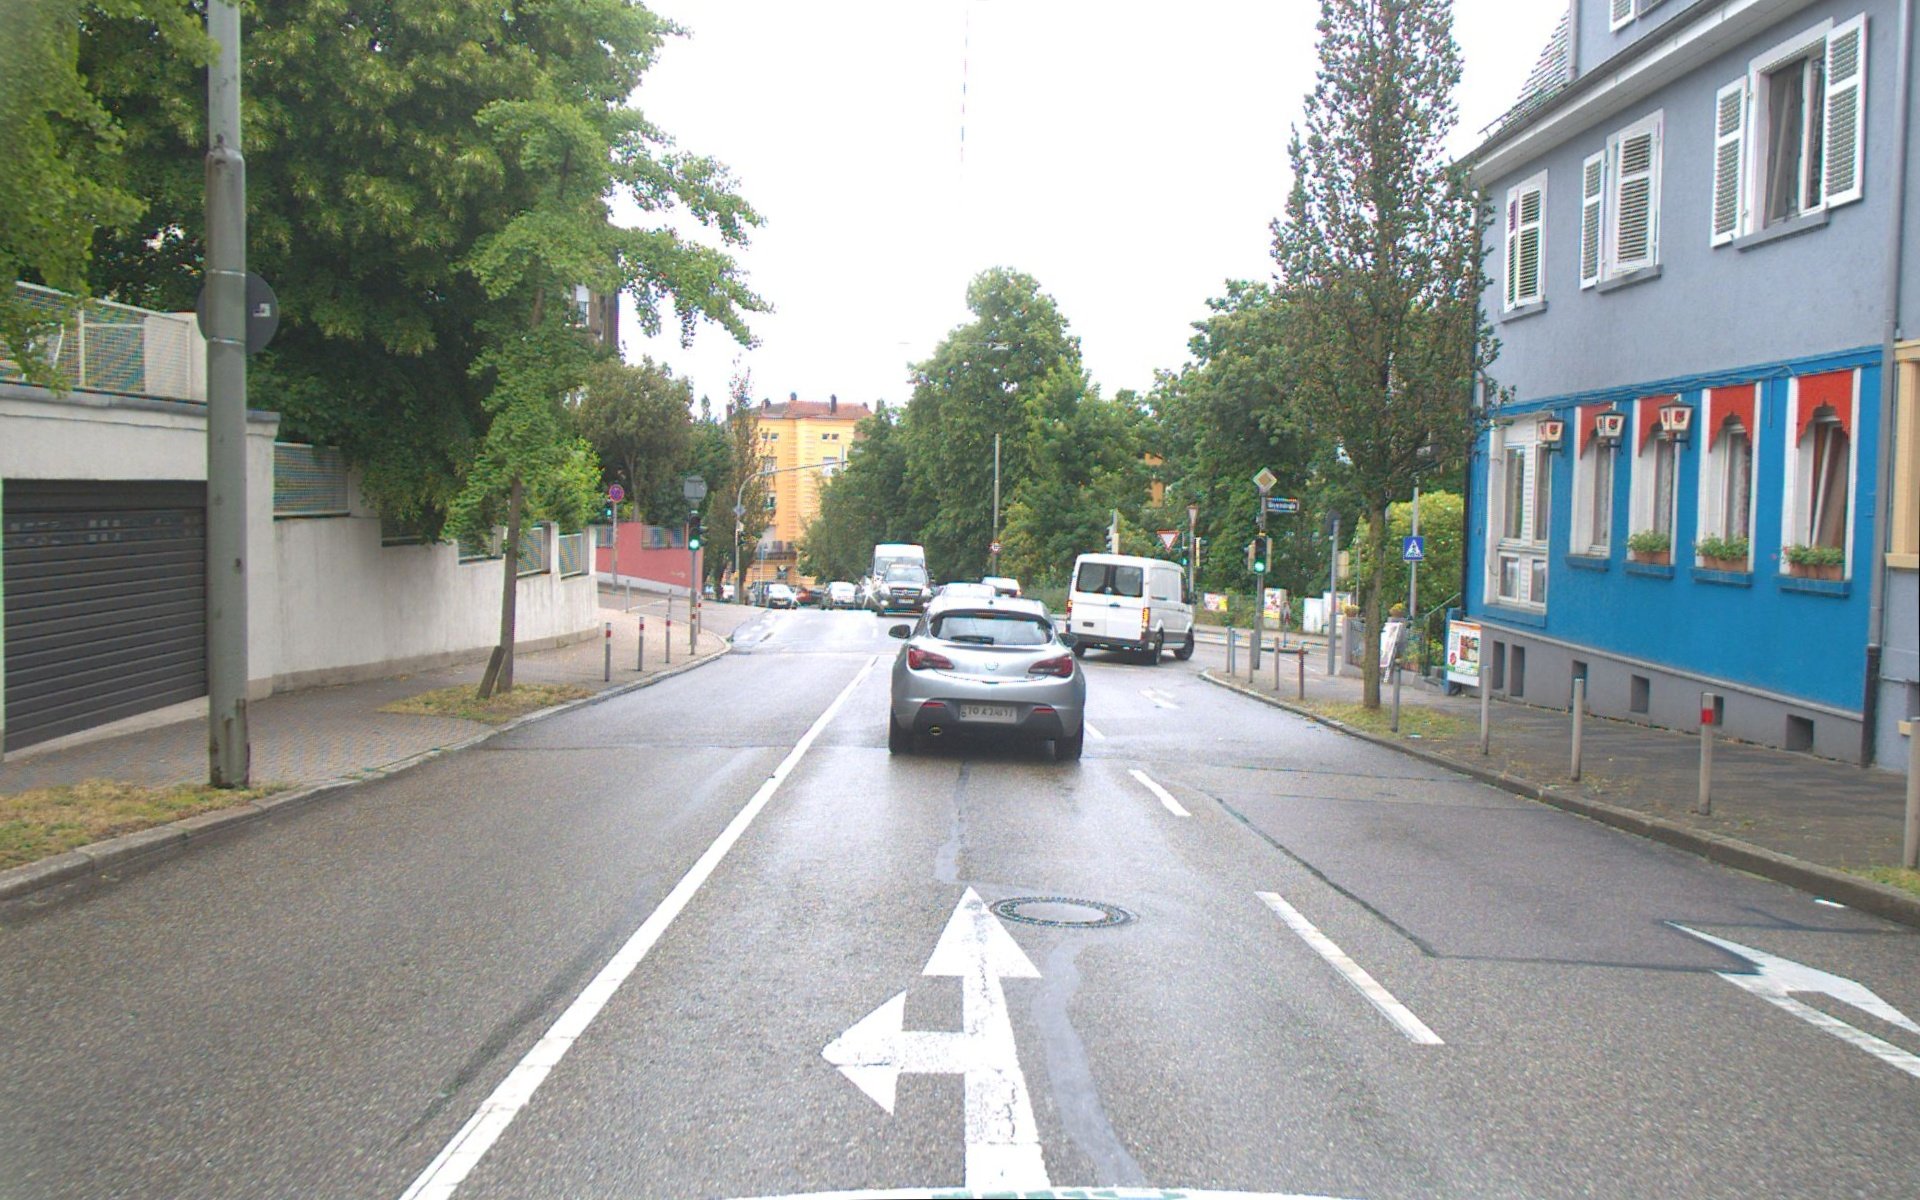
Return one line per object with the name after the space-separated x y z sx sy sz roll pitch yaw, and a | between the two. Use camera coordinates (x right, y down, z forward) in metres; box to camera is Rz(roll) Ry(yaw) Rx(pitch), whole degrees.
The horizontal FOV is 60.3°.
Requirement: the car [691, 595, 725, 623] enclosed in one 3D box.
-15.625 0.542 102.440 1.784 1.641 3.986 2 -1 -13 | car

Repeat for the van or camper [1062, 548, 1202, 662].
4.118 0.119 38.725 2.060 2.366 5.419 4 1 18 | van or camper

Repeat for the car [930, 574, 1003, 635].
0.120 0.140 41.072 1.740 1.455 3.784 0 -1 -1 | car

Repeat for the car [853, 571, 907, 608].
-3.731 -0.470 76.155 1.841 1.602 4.574 1 0 -11 | car

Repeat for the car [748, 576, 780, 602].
-15.325 -0.853 129.173 1.753 1.887 3.981 2 -1 -17 | car

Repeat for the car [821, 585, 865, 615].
-6.249 0.013 87.851 1.743 1.523 4.250 0 0 -12 | car

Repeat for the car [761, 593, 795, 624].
-10.146 0.437 92.260 1.817 1.512 5.361 1 2 -6 | car

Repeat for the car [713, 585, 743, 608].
-17.835 -0.308 126.969 1.814 1.611 4.264 4 -1 -13 | car

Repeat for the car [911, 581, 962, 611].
-1.355 -0.207 93.808 1.786 1.520 3.982 -5 1 -16 | car

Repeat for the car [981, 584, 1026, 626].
1.520 0.160 58.706 1.355 1.436 3.454 0 1 -3 | car

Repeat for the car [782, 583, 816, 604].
-12.924 -0.534 132.755 1.788 1.493 3.977 -4 1 -20 | car

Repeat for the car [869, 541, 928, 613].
-2.378 -0.830 62.649 2.075 2.590 5.535 1 0 -4 | car

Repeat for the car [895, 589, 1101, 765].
0.309 0.665 16.535 1.778 1.454 4.000 2 1 -1 | car

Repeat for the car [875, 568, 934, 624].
-1.849 -0.162 54.134 1.785 1.680 4.344 2 1 -3 | car

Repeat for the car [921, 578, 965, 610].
-0.859 -0.284 81.409 1.591 1.512 3.427 1 0 -10 | car
